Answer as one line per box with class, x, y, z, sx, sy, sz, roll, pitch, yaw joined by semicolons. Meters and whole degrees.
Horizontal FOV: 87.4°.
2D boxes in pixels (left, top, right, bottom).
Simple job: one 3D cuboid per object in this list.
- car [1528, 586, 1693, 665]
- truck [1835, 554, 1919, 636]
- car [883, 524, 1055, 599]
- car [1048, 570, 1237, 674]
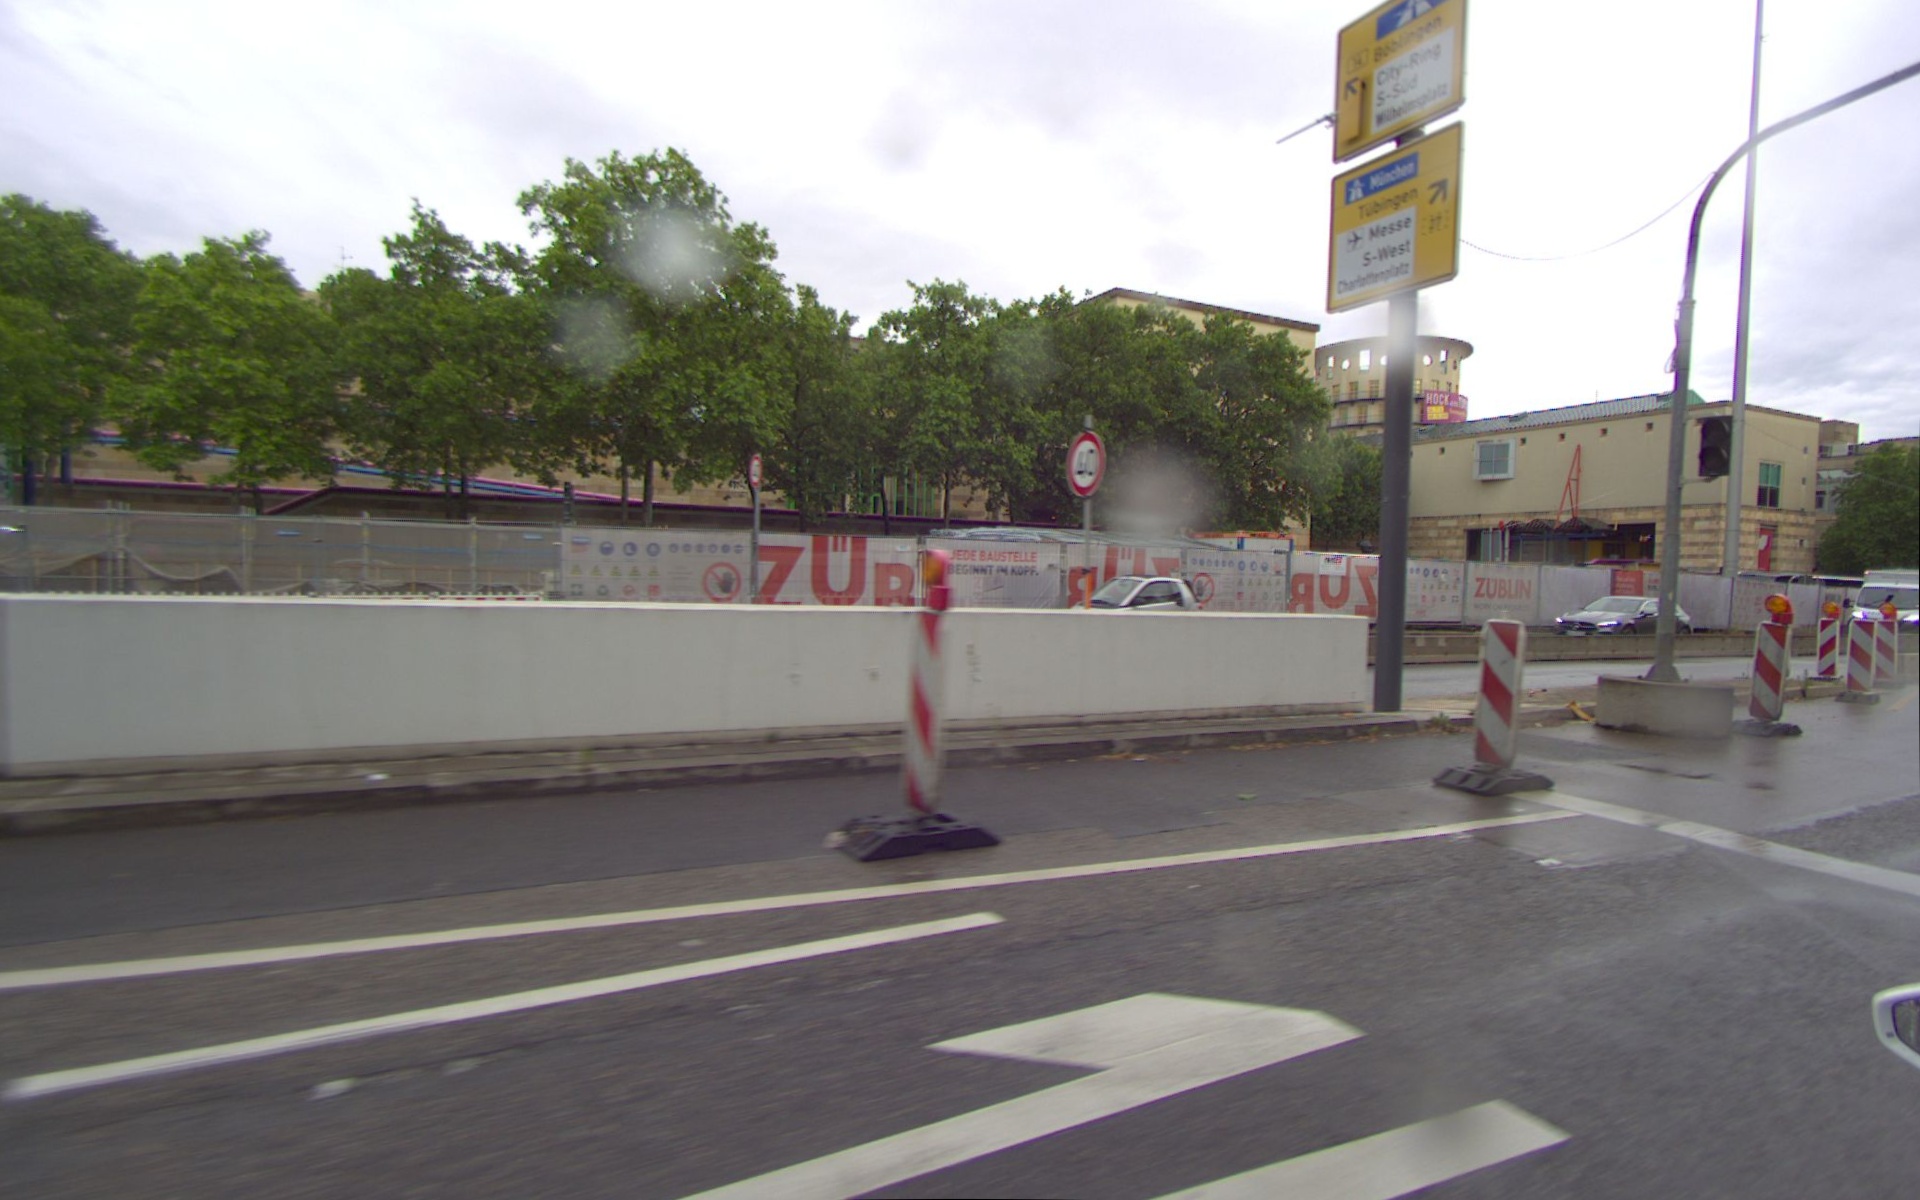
car;18.012;0.713;27.759;4.703;2.040;1.899;2;0;-30
truck;34.725;-0.194;36.748;7.282;2.756;2.381;0;2;-36
car;0.282;-1.110;29.485;4.656;2.041;1.985;0;3;-28
car;3.597;0.416;19.747;3.318;1.893;1.692;1;1;-30
